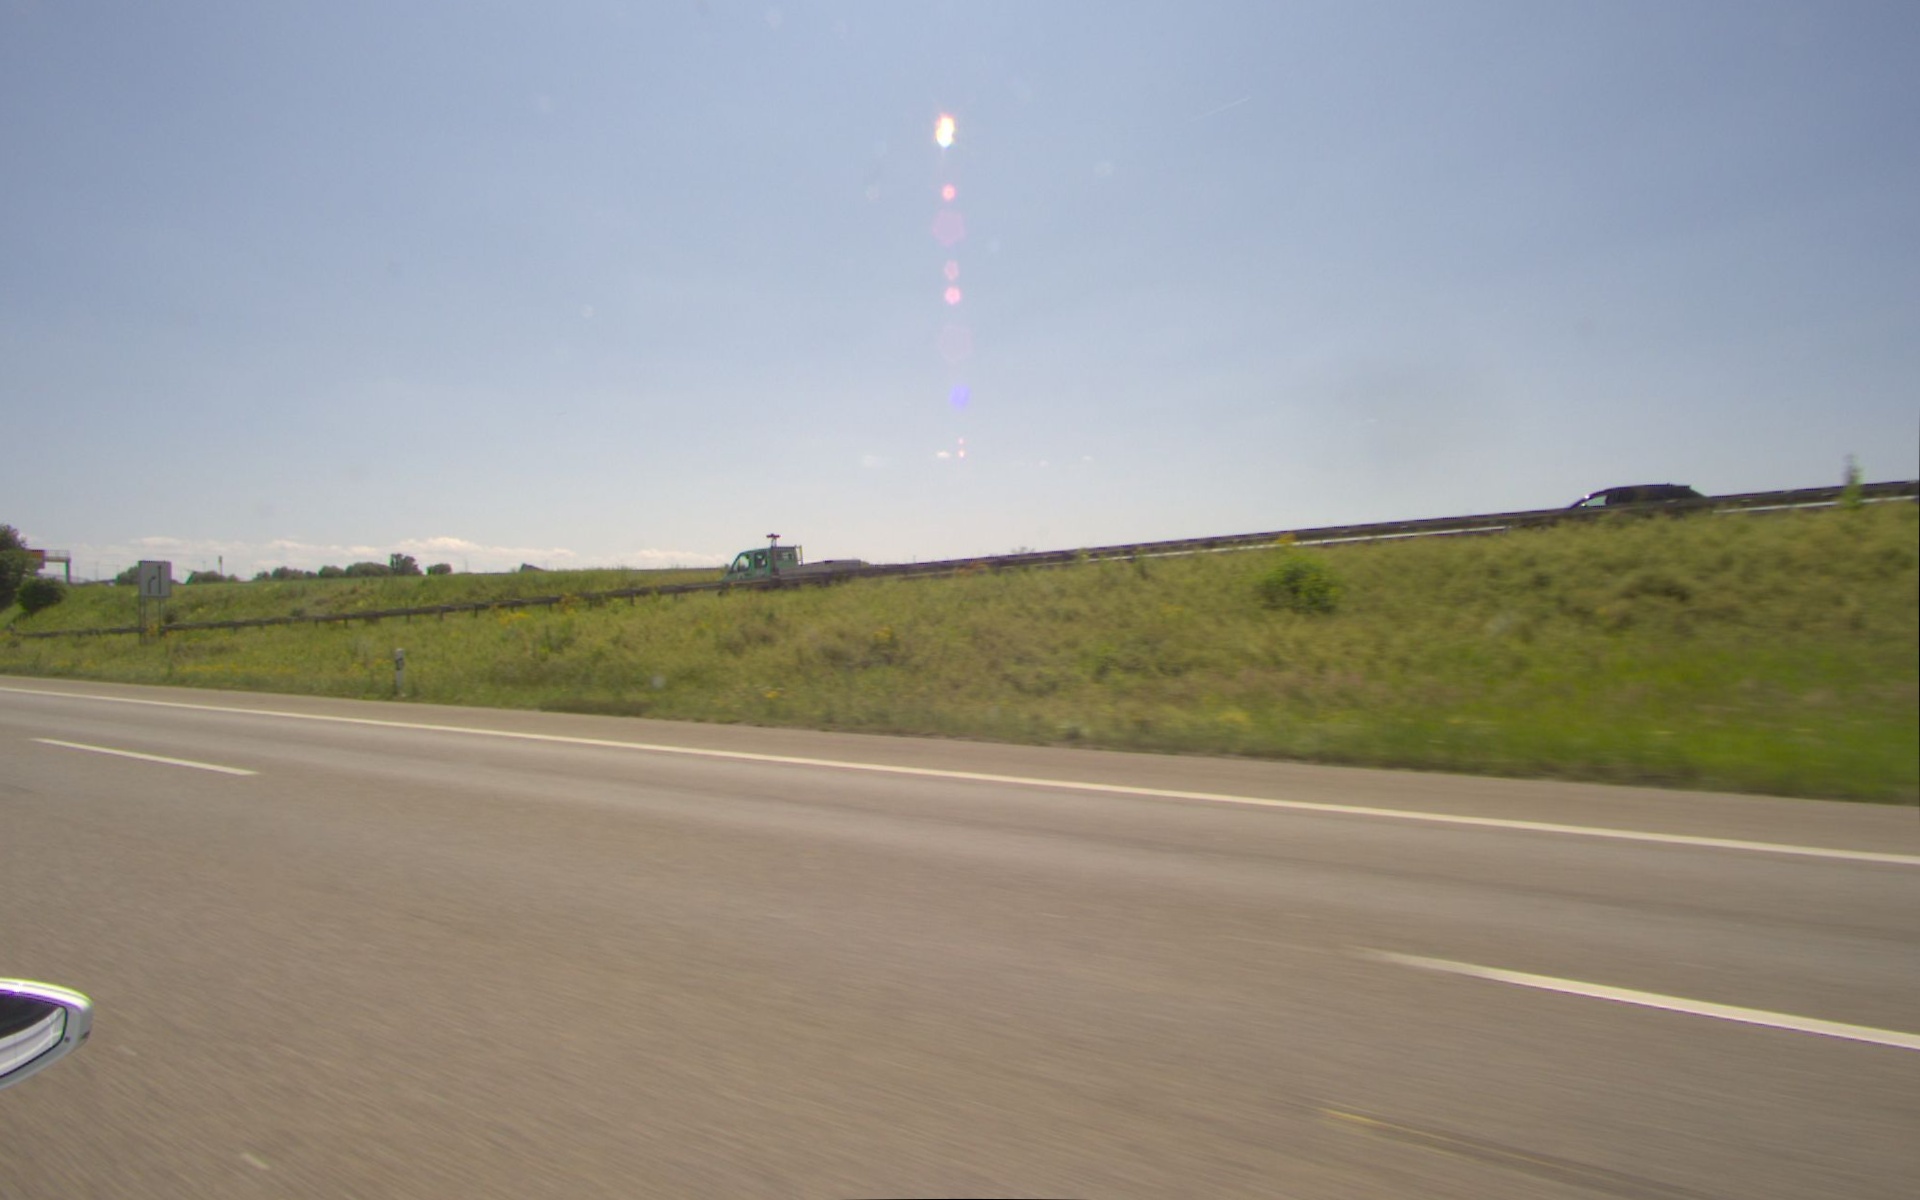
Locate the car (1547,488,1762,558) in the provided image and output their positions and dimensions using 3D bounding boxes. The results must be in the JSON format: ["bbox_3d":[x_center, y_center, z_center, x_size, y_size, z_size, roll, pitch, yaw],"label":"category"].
[{"bbox_3d":[17.550,-1.905,25.581,4.227,1.401,1.994,-1,-1,26],"label":"car"}]

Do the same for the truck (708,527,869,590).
[{"bbox_3d":[-6.645,-1.527,38.568,6.021,2.119,2.164,-1,-1,27],"label":"truck"}]
